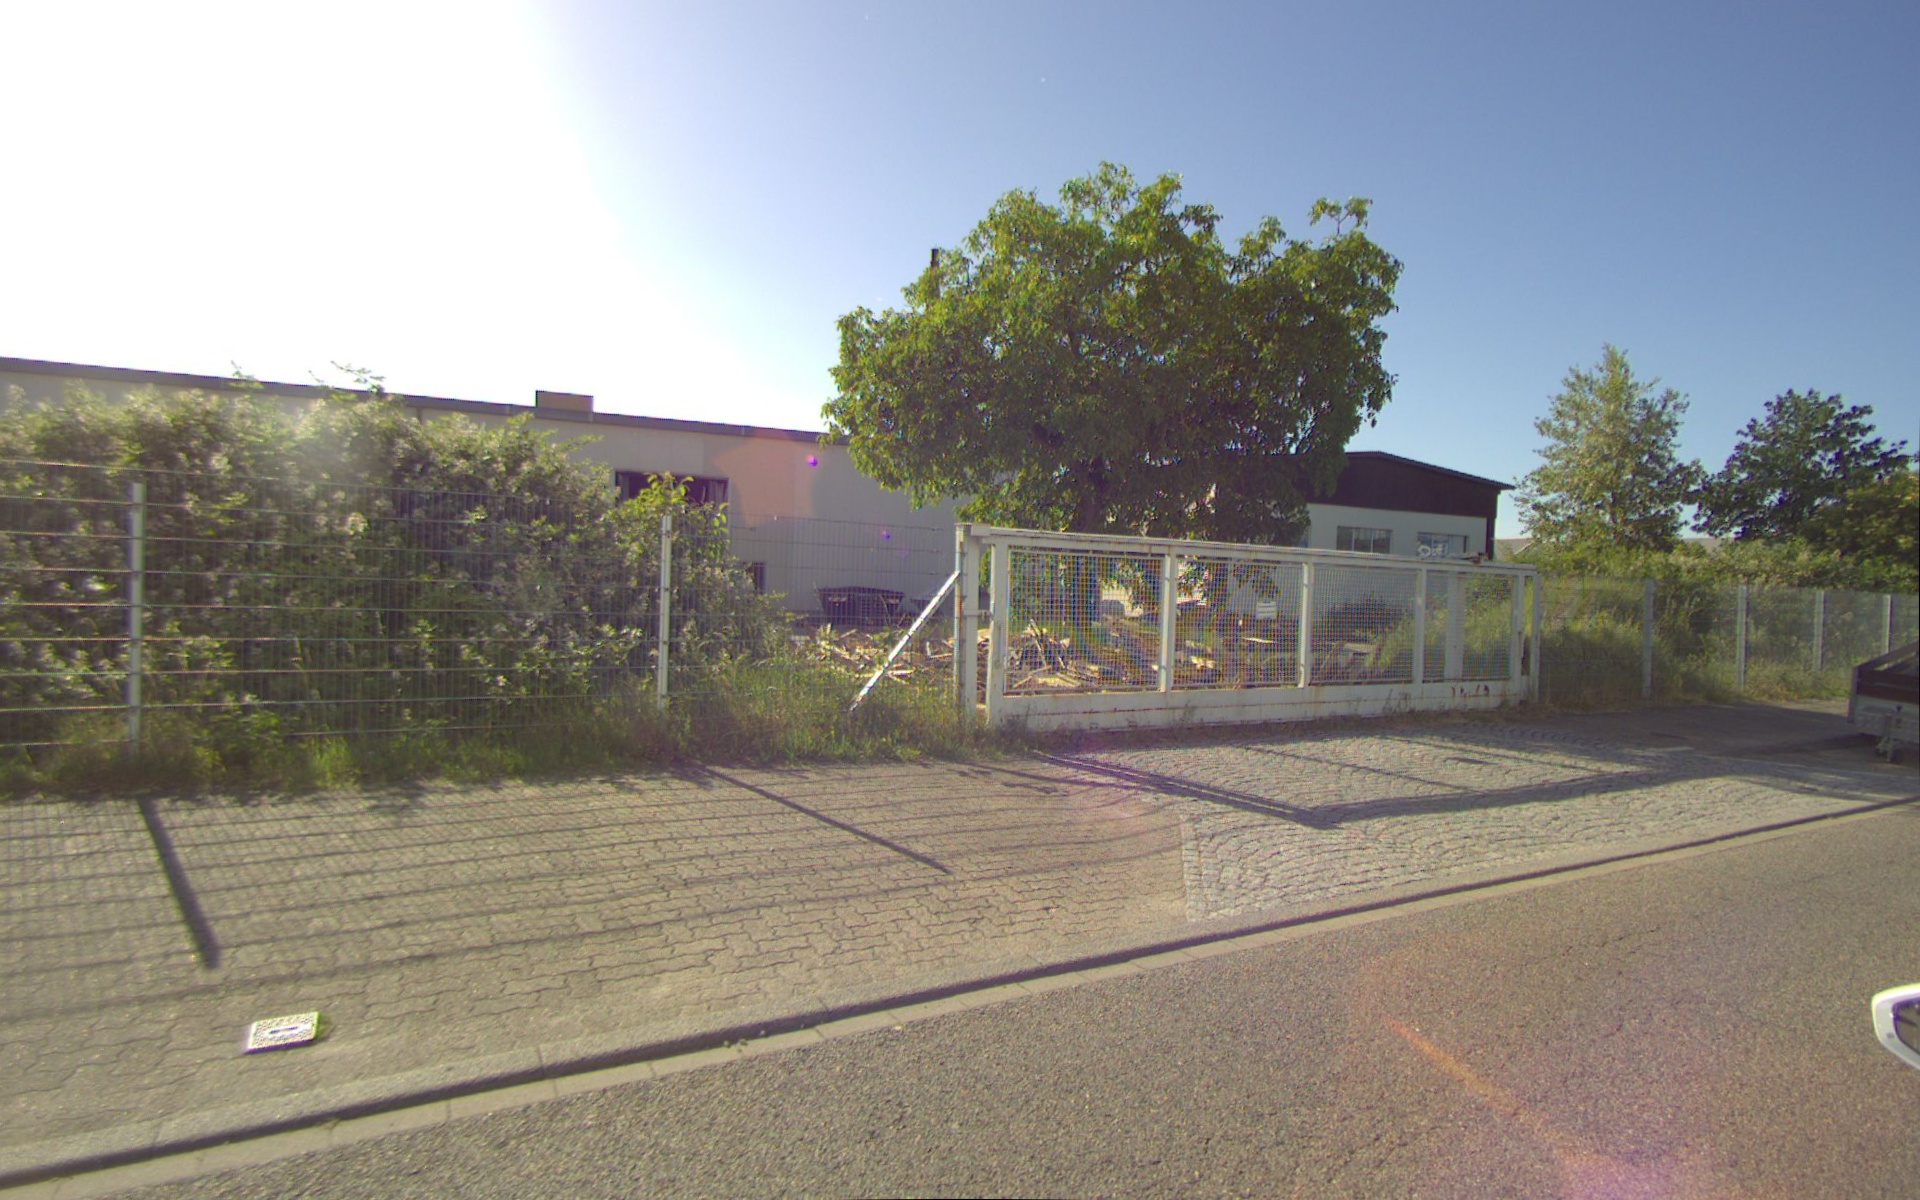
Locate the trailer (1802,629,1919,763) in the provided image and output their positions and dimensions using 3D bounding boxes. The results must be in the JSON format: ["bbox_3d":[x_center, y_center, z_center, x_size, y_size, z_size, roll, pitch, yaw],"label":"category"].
[{"bbox_3d":[11.702,1.130,12.021,3.042,1.372,1.469,2,3,-30],"label":"trailer"}]
